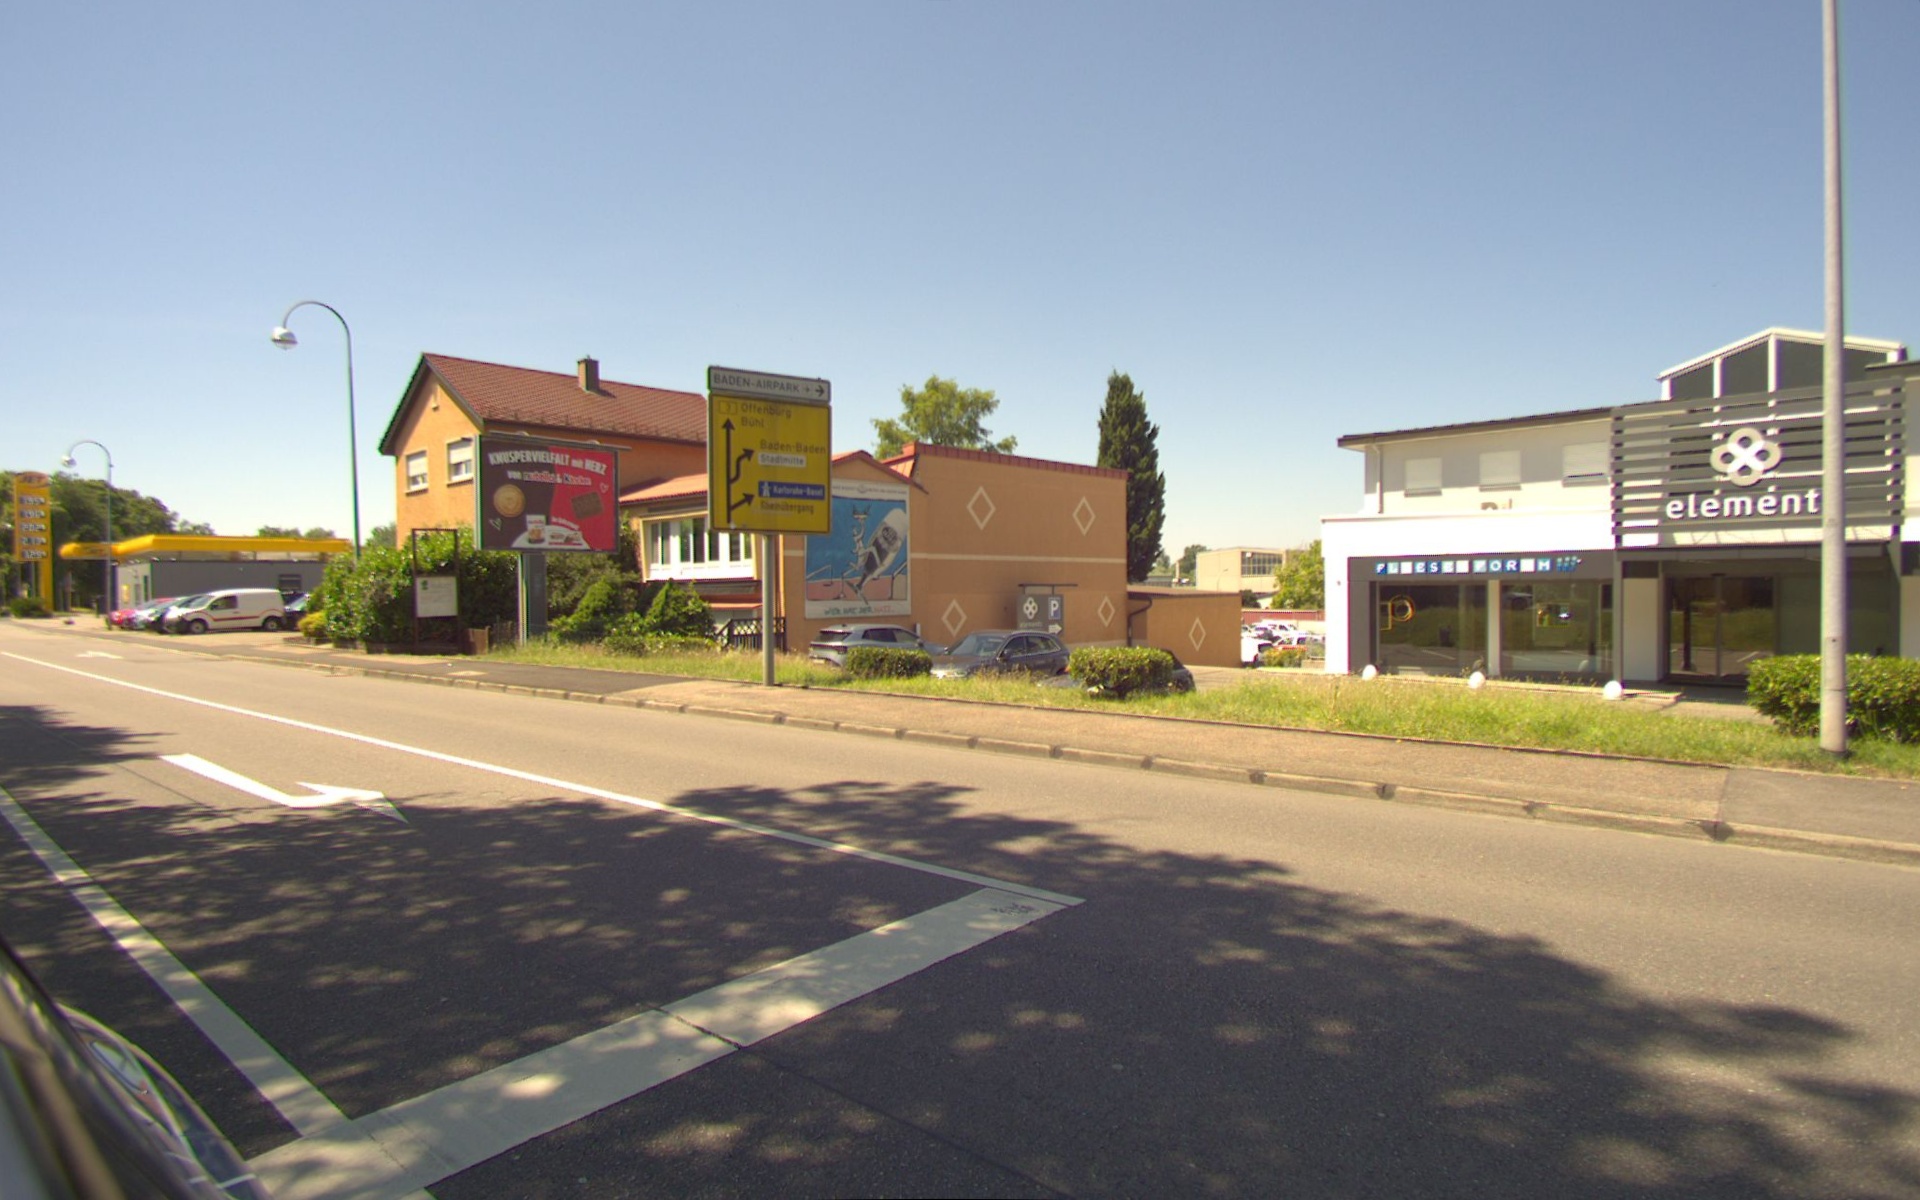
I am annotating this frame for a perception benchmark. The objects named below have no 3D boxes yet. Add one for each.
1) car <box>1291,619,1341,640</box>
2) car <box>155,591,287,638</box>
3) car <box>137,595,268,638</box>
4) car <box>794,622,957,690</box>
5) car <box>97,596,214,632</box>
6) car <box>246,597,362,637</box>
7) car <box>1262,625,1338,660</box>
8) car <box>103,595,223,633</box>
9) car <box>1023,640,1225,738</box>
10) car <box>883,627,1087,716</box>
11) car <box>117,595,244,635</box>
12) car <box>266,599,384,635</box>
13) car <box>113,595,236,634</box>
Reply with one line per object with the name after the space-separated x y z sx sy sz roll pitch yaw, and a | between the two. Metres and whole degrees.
30.875 2.523 87.854 3.775 1.768 1.706 0 0 44 | car
-31.113 0.582 42.713 1.871 1.883 4.142 0 0 36 | car
-32.823 0.707 43.959 1.871 1.773 4.196 0 0 36 | car
-2.207 1.438 27.176 4.164 1.621 1.773 0 -1 -42 | car
-41.187 0.691 51.909 1.871 1.773 4.350 0 0 36 | car
-31.567 0.790 48.820 1.871 1.839 4.350 0 0 36 | car
20.832 2.572 62.080 4.002 2.029 1.971 0 0 44 | car
-39.471 0.667 50.214 1.871 1.773 4.350 0 0 36 | car
3.250 1.627 19.605 4.038 1.544 1.773 0 -1 -43 | car
0.633 1.459 21.946 4.461 1.654 1.773 0 -1 -43 | car
-36.151 0.679 47.049 1.871 1.773 4.350 0 0 36 | car
-29.735 0.767 47.492 1.871 1.575 4.350 0 0 36 | car
-37.765 0.671 48.723 1.871 1.773 4.350 0 0 36 | car
